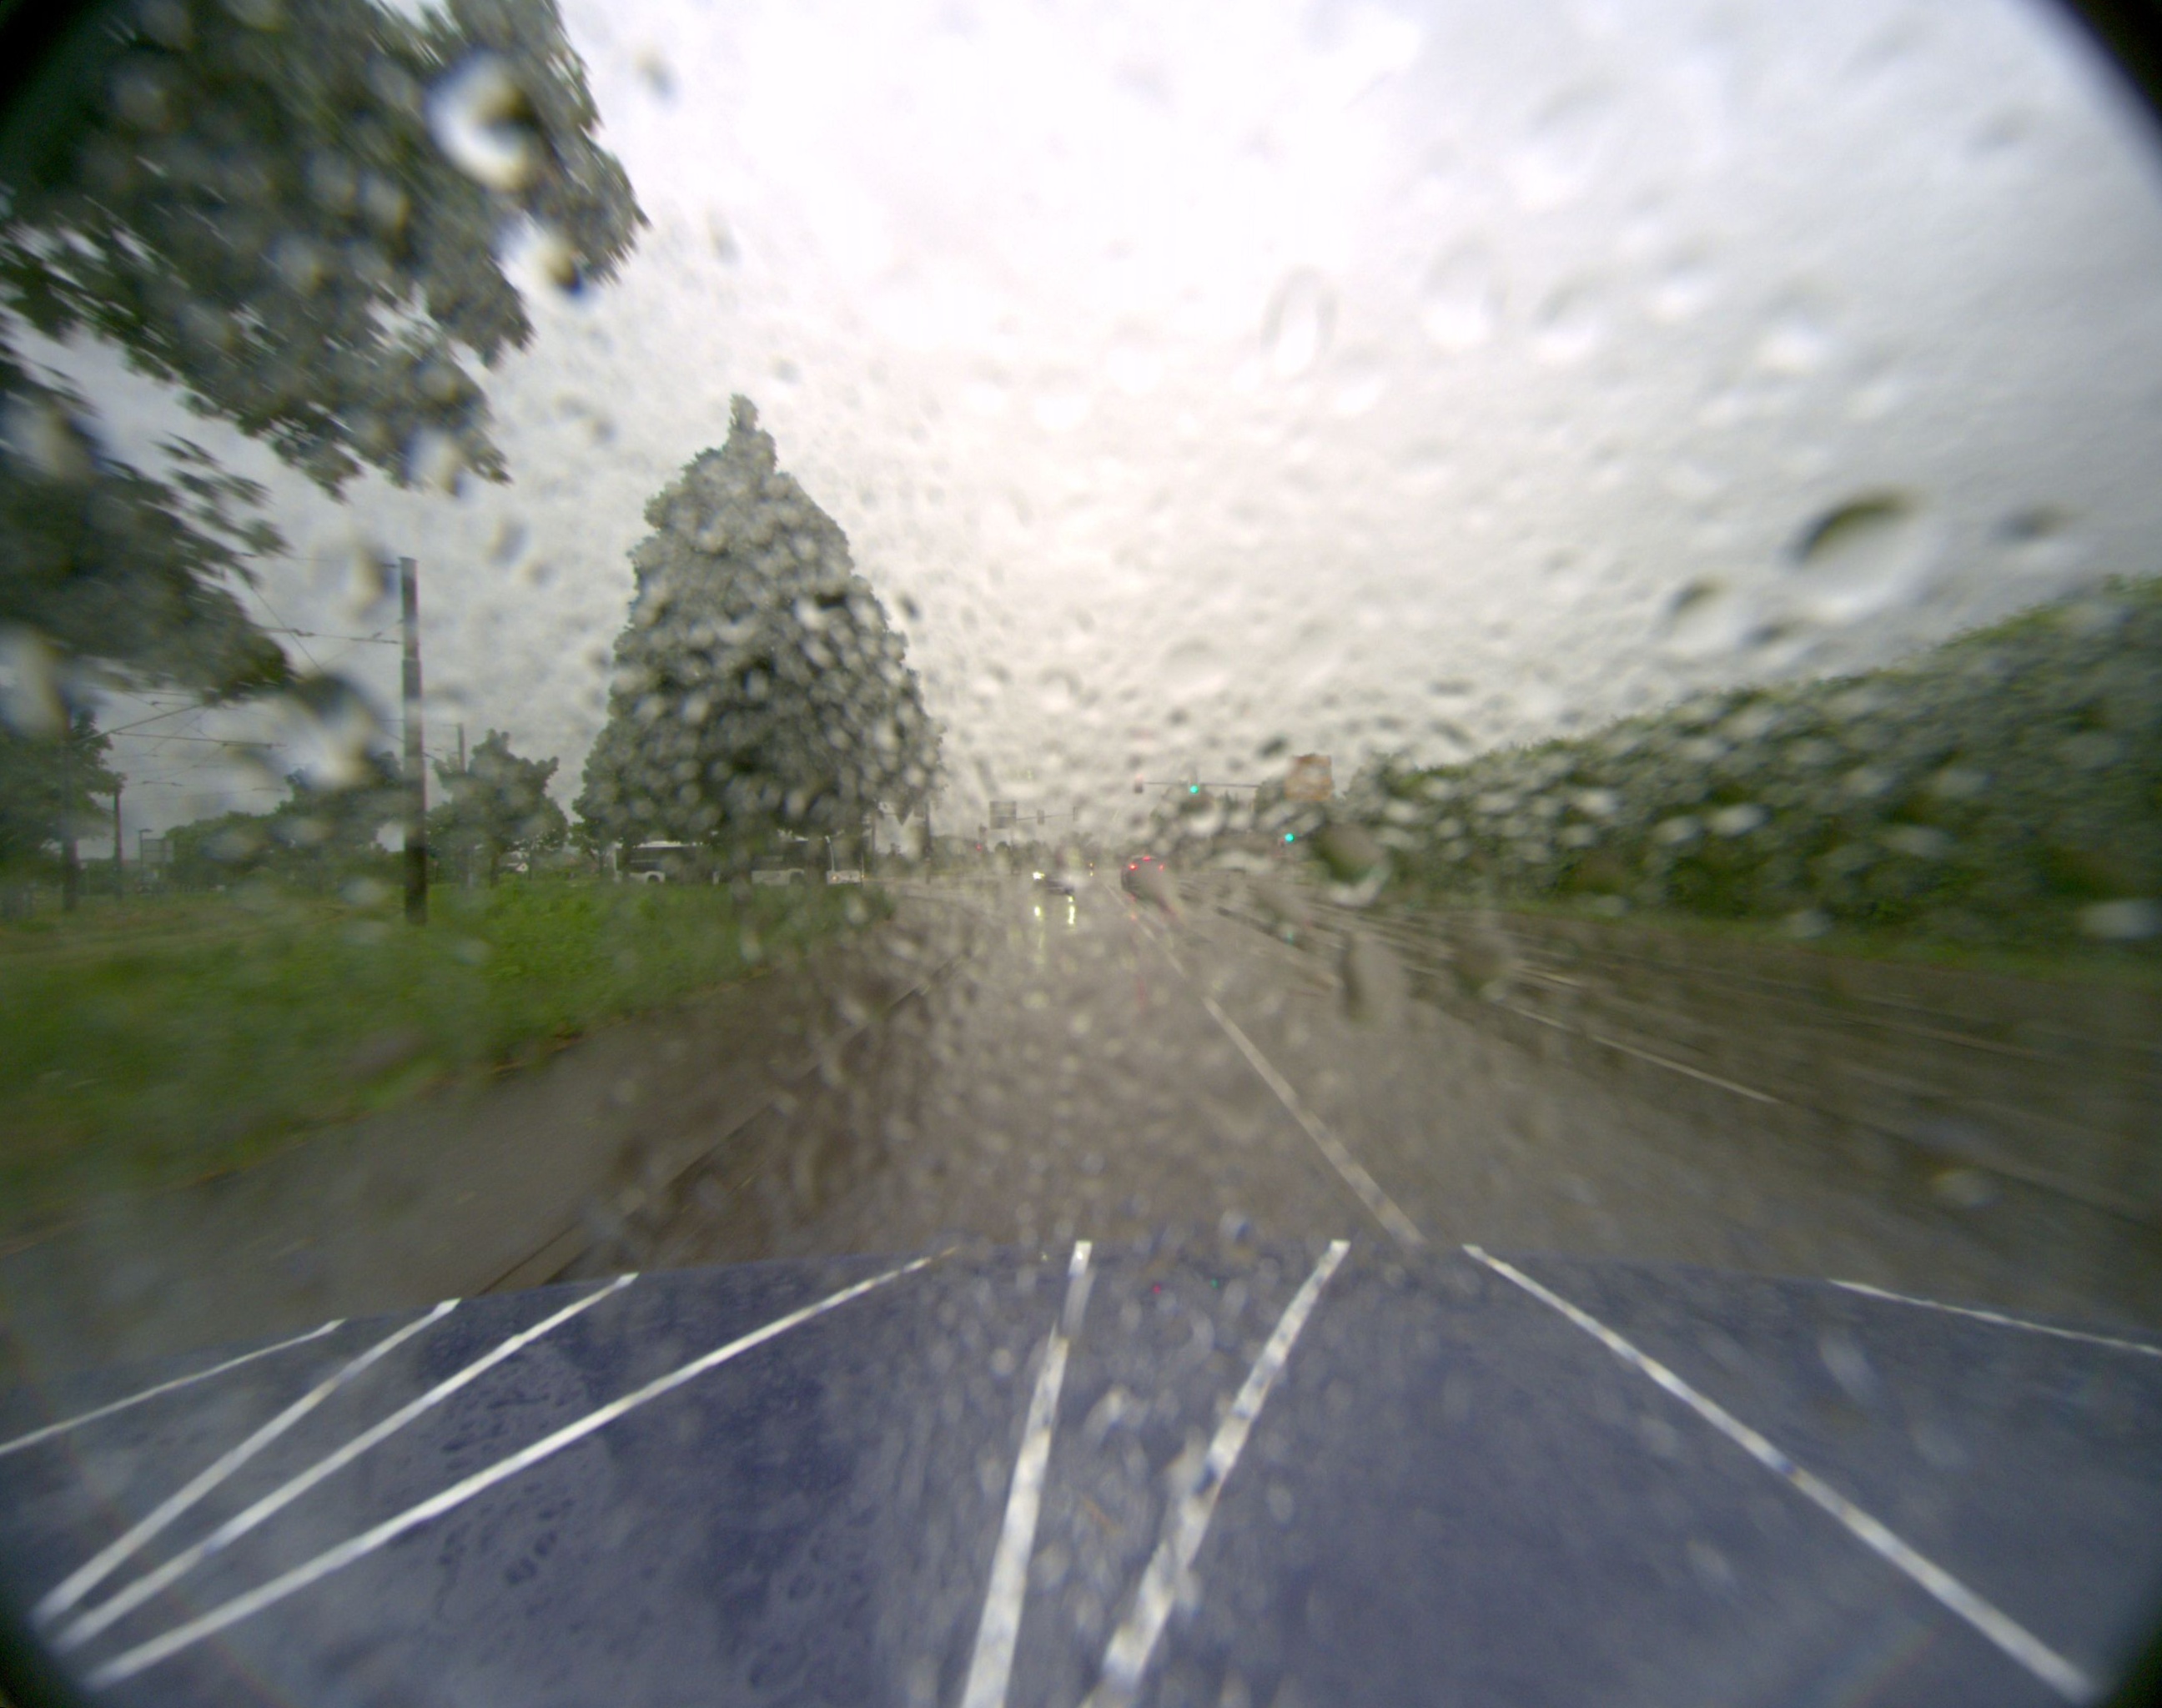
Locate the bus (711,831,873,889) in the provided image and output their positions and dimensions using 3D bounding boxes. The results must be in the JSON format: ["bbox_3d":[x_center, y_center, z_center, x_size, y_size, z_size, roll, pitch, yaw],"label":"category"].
[{"bbox_3d":[-16.857,0.393,44.028,9.969,3.059,2.683,-1,1,27],"label":"bus"}]

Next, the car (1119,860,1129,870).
[{"bbox_3d":[7.544,1.945,133.974,1.617,1.510,3.655,-2,1,2],"label":"car"}]

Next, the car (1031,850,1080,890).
[{"bbox_3d":[-1.074,0.679,34.482,1.998,1.622,4.000,-2,1,1],"label":"car"}]

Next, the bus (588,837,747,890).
[{"bbox_3d":[-26.168,0.615,48.017,9.973,3.059,2.682,-1,1,19],"label":"bus"}]

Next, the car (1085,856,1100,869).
[{"bbox_3d":[1.889,1.398,126.018,1.919,2.002,4.002,-1,1,8],"label":"car"}]

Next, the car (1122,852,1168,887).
[{"bbox_3d":[2.962,0.707,35.998,1.767,1.528,3.876,0,1,-2],"label":"car"}]
